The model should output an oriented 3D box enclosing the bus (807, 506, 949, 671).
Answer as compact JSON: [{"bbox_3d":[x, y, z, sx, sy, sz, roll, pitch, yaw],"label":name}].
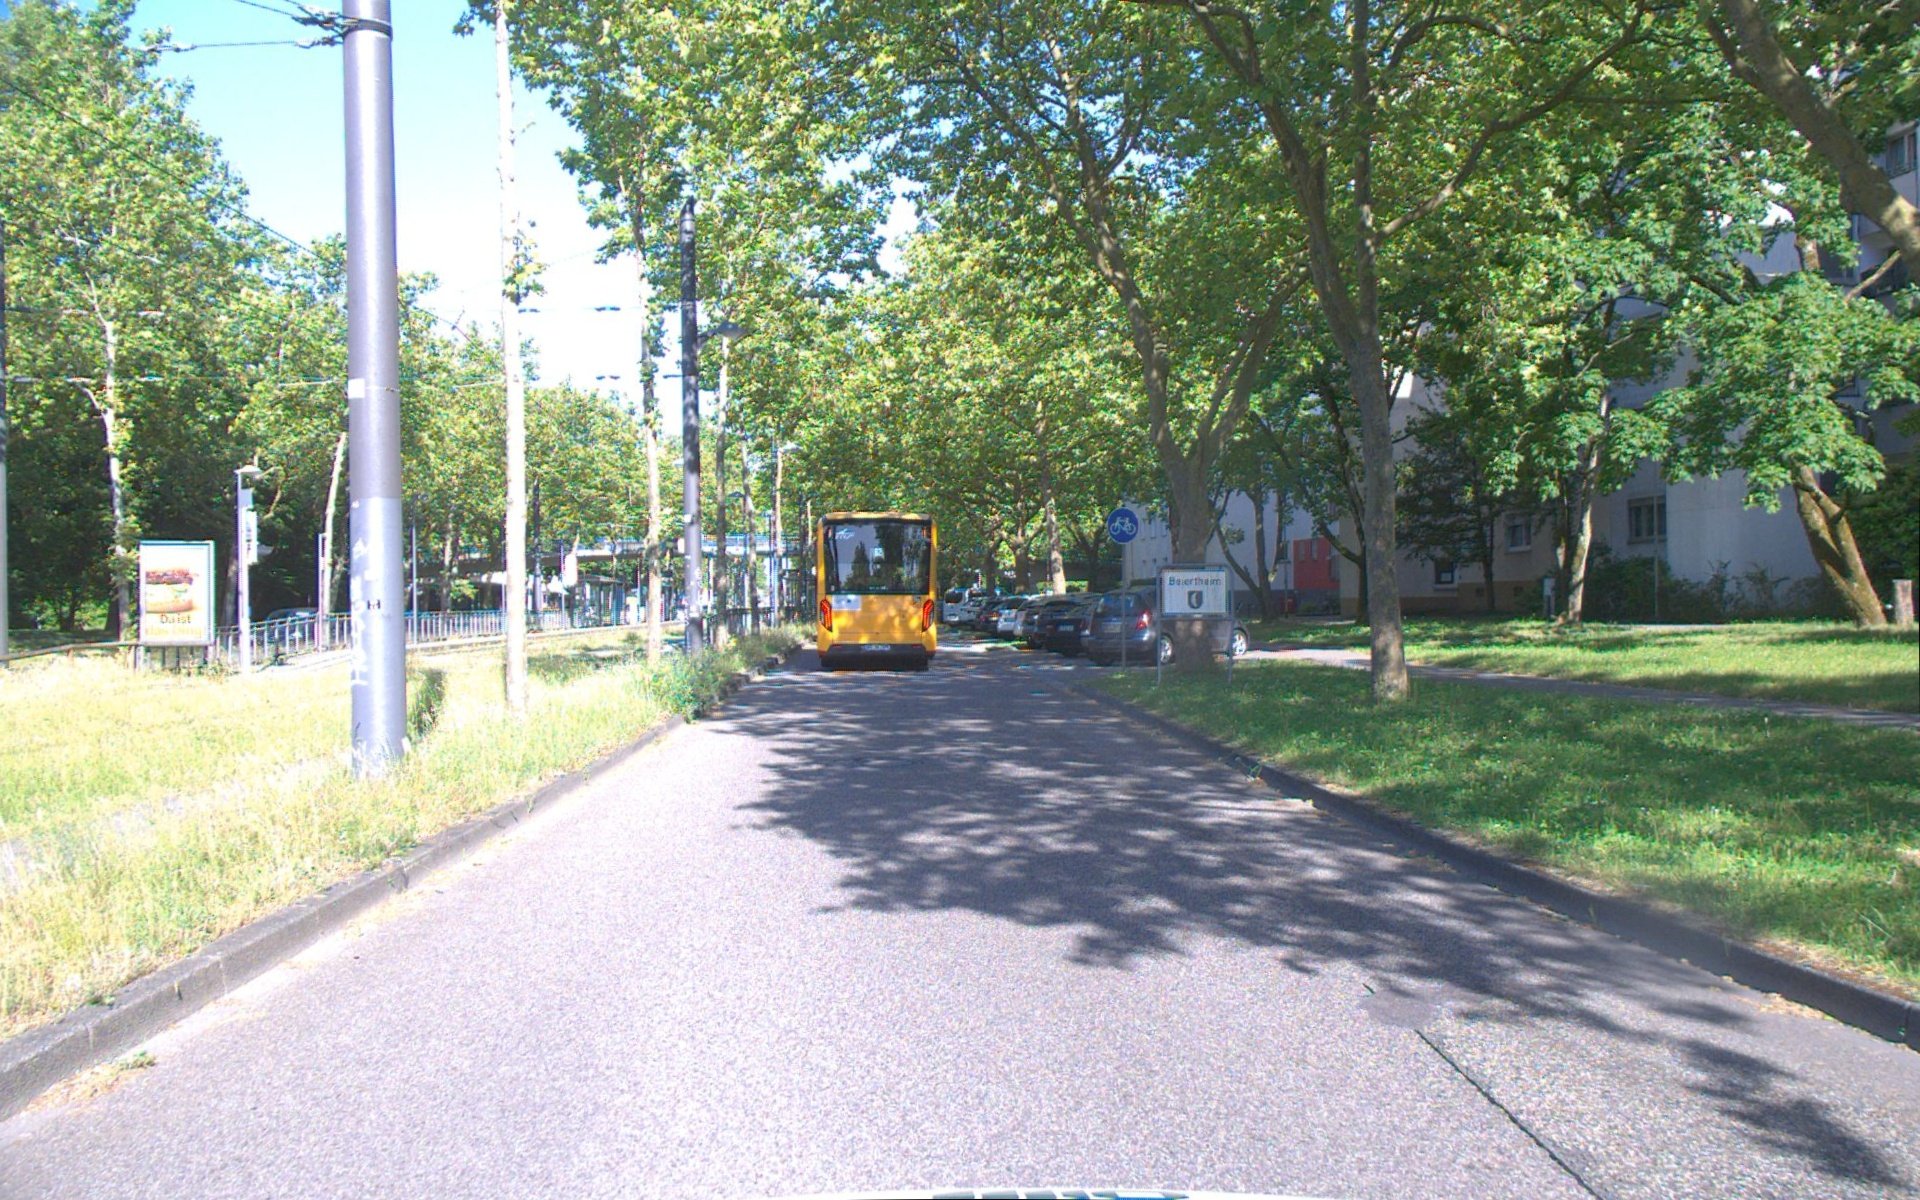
[{"bbox_3d":[-2.093,-0.217,39.744,2.843,3.324,12.207,-1,0,-4],"label":"bus"}]

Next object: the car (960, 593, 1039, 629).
[{"bbox_3d":[2.056,0.556,85.322,1.801,1.607,4.032,-3,0,43],"label":"car"}]

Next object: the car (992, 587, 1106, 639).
[{"bbox_3d":[3.155,0.447,58.113,3.970,1.603,1.771,-3,0,-44],"label":"car"}]

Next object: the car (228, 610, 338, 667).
[{"bbox_3d":[-20.720,1.144,50.793,1.758,1.636,4.265,-1,0,-3],"label":"car"}]

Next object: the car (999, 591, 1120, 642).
[{"bbox_3d":[3.322,0.532,54.608,3.971,1.469,1.770,-3,0,-45],"label":"car"}]

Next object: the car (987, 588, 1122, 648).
[{"bbox_3d":[2.779,0.508,47.995,1.766,1.536,4.157,-2,0,40],"label":"car"}]

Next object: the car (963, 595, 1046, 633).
[{"bbox_3d":[2.146,0.658,79.076,1.766,1.536,4.192,-3,0,39],"label":"car"}]

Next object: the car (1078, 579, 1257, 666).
[{"bbox_3d":[4.380,0.450,34.618,3.699,1.620,1.771,-3,0,-45],"label":"car"}]

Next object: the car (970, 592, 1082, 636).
[{"bbox_3d":[2.545,0.521,62.728,1.767,1.447,4.564,-2,0,41],"label":"car"}]

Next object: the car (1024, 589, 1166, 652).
[{"bbox_3d":[3.666,0.534,44.422,1.768,1.471,3.864,-2,0,43],"label":"car"}]

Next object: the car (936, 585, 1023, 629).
[{"bbox_3d":[1.065,0.381,88.579,4.555,2.088,1.985,-3,0,-44],"label":"car"}]

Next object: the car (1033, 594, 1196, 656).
[{"bbox_3d":[3.864,0.602,40.941,4.115,1.341,1.771,-3,0,-44],"label":"car"}]

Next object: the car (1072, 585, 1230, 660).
[{"bbox_3d":[4.412,0.499,37.895,1.770,1.518,3.559,-2,0,45],"label":"car"}]
